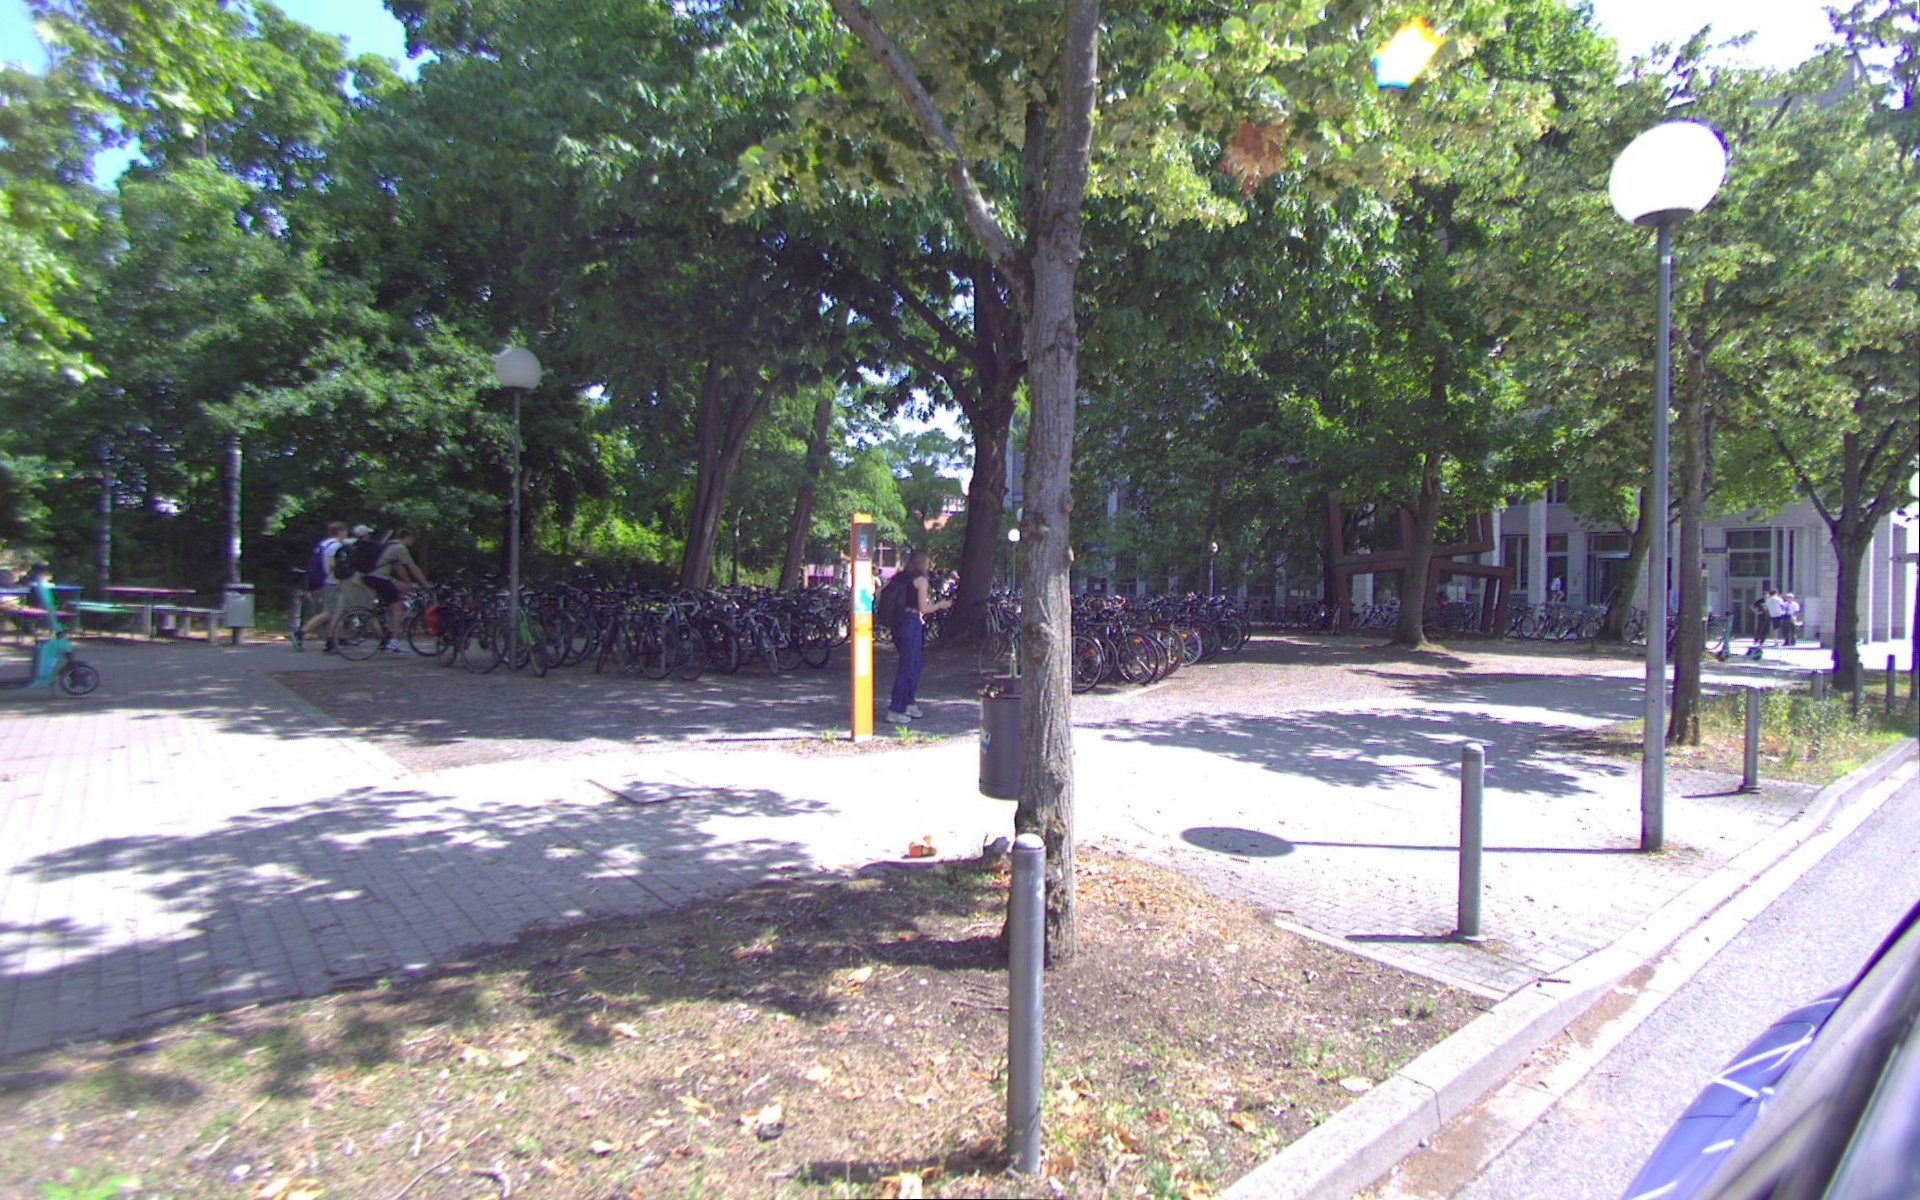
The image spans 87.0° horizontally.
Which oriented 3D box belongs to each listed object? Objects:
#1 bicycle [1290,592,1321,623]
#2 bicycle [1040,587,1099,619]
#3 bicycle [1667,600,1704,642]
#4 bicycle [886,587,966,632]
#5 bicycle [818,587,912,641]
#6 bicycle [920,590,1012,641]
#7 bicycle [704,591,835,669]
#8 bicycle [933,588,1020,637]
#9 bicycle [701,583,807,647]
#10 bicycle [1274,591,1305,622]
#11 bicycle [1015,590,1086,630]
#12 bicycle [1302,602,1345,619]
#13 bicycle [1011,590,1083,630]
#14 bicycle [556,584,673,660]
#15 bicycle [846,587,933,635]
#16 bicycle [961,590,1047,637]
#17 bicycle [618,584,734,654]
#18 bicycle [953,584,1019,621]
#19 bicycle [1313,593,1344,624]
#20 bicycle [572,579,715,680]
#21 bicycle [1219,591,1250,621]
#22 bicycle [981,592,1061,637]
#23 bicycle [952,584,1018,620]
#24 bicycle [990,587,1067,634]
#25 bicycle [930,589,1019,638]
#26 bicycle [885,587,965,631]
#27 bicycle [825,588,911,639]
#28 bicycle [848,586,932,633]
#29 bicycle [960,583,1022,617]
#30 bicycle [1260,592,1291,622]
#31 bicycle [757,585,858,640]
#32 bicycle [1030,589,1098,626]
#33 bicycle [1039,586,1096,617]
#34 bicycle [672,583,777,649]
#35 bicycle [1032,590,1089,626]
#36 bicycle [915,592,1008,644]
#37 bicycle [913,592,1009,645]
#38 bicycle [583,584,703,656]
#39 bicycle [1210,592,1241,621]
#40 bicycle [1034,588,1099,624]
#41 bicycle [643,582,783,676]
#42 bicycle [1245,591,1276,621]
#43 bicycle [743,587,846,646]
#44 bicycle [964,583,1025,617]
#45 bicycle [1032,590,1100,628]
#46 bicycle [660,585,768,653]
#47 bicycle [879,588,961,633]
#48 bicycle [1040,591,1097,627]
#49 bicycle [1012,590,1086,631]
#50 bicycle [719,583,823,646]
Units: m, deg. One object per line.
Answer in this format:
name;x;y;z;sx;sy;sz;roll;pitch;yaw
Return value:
bicycle;13.210;0.290;38.680;0.453;1.144;1.661;-2;-3;44
bicycle;3.608;0.096;33.286;1.874;0.991;0.477;2;1;12
bicycle;21.028;0.587;29.312;1.465;1.155;0.560;0;3;-44
bicycle;-0.811;0.218;24.256;1.873;0.991;0.377;2;1;11
bicycle;-1.945;0.273;20.696;1.880;0.991;0.475;2;1;20
bicycle;0.126;0.312;21.387;1.872;0.991;0.477;2;1;9
bicycle;-2.754;0.407;14.560;1.886;0.991;0.607;3;2;28
bicycle;0.368;0.268;22.287;1.872;0.991;0.477;2;1;8
bicycle;-3.542;0.242;17.353;1.885;0.991;0.474;2;1;27
bicycle;12.754;0.266;39.142;0.453;1.144;1.661;-2;-3;44
bicycle;2.450;0.265;27.518;1.880;0.991;0.376;2;1;20
bicycle;18.691;0.538;52.064;1.981;0.769;0.634;3;0;40
bicycle;2.338;0.257;27.206;1.880;0.991;0.376;2;1;20
bicycle;-5.024;0.290;14.669;1.888;0.991;0.473;3;2;31
bicycle;-1.575;0.230;22.759;1.873;0.991;0.477;2;1;11
bicycle;1.000;0.298;23.081;1.880;0.991;0.475;2;1;20
bicycle;-4.452;0.276;15.833;1.884;0.991;0.474;2;1;25
bicycle;0.760;0.069;29.619;1.880;0.991;0.376;2;1;20
bicycle;13.915;0.330;38.175;0.453;1.144;1.661;-2;-3;44
bicycle;-3.928;0.334;12.522;1.792;1.132;0.607;2;2;28
bicycle;11.007;0.255;40.622;0.453;1.144;1.661;-2;-3;44
bicycle;1.466;0.331;24.345;1.873;0.991;0.477;2;1;11
bicycle;0.742;0.058;30.211;1.880;0.991;0.475;2;1;20
bicycle;1.726;0.249;25.519;1.875;1.096;0.477;2;1;14
bicycle;0.313;0.286;21.890;1.872;0.991;0.477;2;1;8
bicycle;-0.852;0.202;24.811;1.874;0.991;0.477;2;1;11
bicycle;-1.987;0.269;21.705;1.885;0.991;0.438;2;1;26
bicycle;-1.605;0.217;23.226;1.873;0.991;0.377;2;1;11
bicycle;0.944;-0.002;31.377;1.880;0.991;0.376;2;1;20
bicycle;12.338;0.276;39.553;0.453;1.144;1.661;-2;-3;44
bicycle;-2.975;0.229;19.738;1.877;0.991;0.534;2;1;16
bicycle;2.970;0.224;28.960;1.867;0.991;0.379;2;1;0
bicycle;3.668;0.043;34.518;1.868;0.991;0.479;2;1;0
bicycle;-3.931;0.248;16.851;1.886;0.991;0.417;3;1;28
bicycle;3.074;0.252;30.927;1.714;1.035;0.292;2;1;9
bicycle;0.025;0.355;20.783;1.868;0.991;0.478;2;1;1
bicycle;0.012;0.364;20.207;1.868;0.991;0.478;2;1;1
bicycle;-4.795;0.278;15.282;1.881;0.991;0.418;2;1;22
bicycle;10.790;0.275;41.120;0.453;1.144;1.661;-2;-3;44
bicycle;3.130;0.170;29.794;1.868;0.991;0.378;2;1;2
bicycle;-3.304;0.351;13.491;1.886;1.132;0.607;2;2;28
bicycle;11.832;0.231;39.863;0.453;1.144;1.661;-2;-3;44
bicycle;-3.065;0.287;18.677;1.886;0.991;0.607;3;2;28
bicycle;1.080;-0.001;31.775;1.880;0.991;0.376;2;1;20
bicycle;2.981;0.244;28.510;1.867;0.991;0.379;2;1;0
bicycle;-3.990;0.282;16.364;1.886;0.991;0.417;3;1;28
bicycle;-0.949;0.240;23.863;1.873;0.991;0.377;2;1;11
bicycle;3.338;0.257;31.184;1.714;1.035;0.477;2;1;9
bicycle;2.344;0.279;26.764;1.880;0.991;0.376;2;1;20
bicycle;-3.320;0.236;17.712;1.885;0.991;0.474;2;1;27
